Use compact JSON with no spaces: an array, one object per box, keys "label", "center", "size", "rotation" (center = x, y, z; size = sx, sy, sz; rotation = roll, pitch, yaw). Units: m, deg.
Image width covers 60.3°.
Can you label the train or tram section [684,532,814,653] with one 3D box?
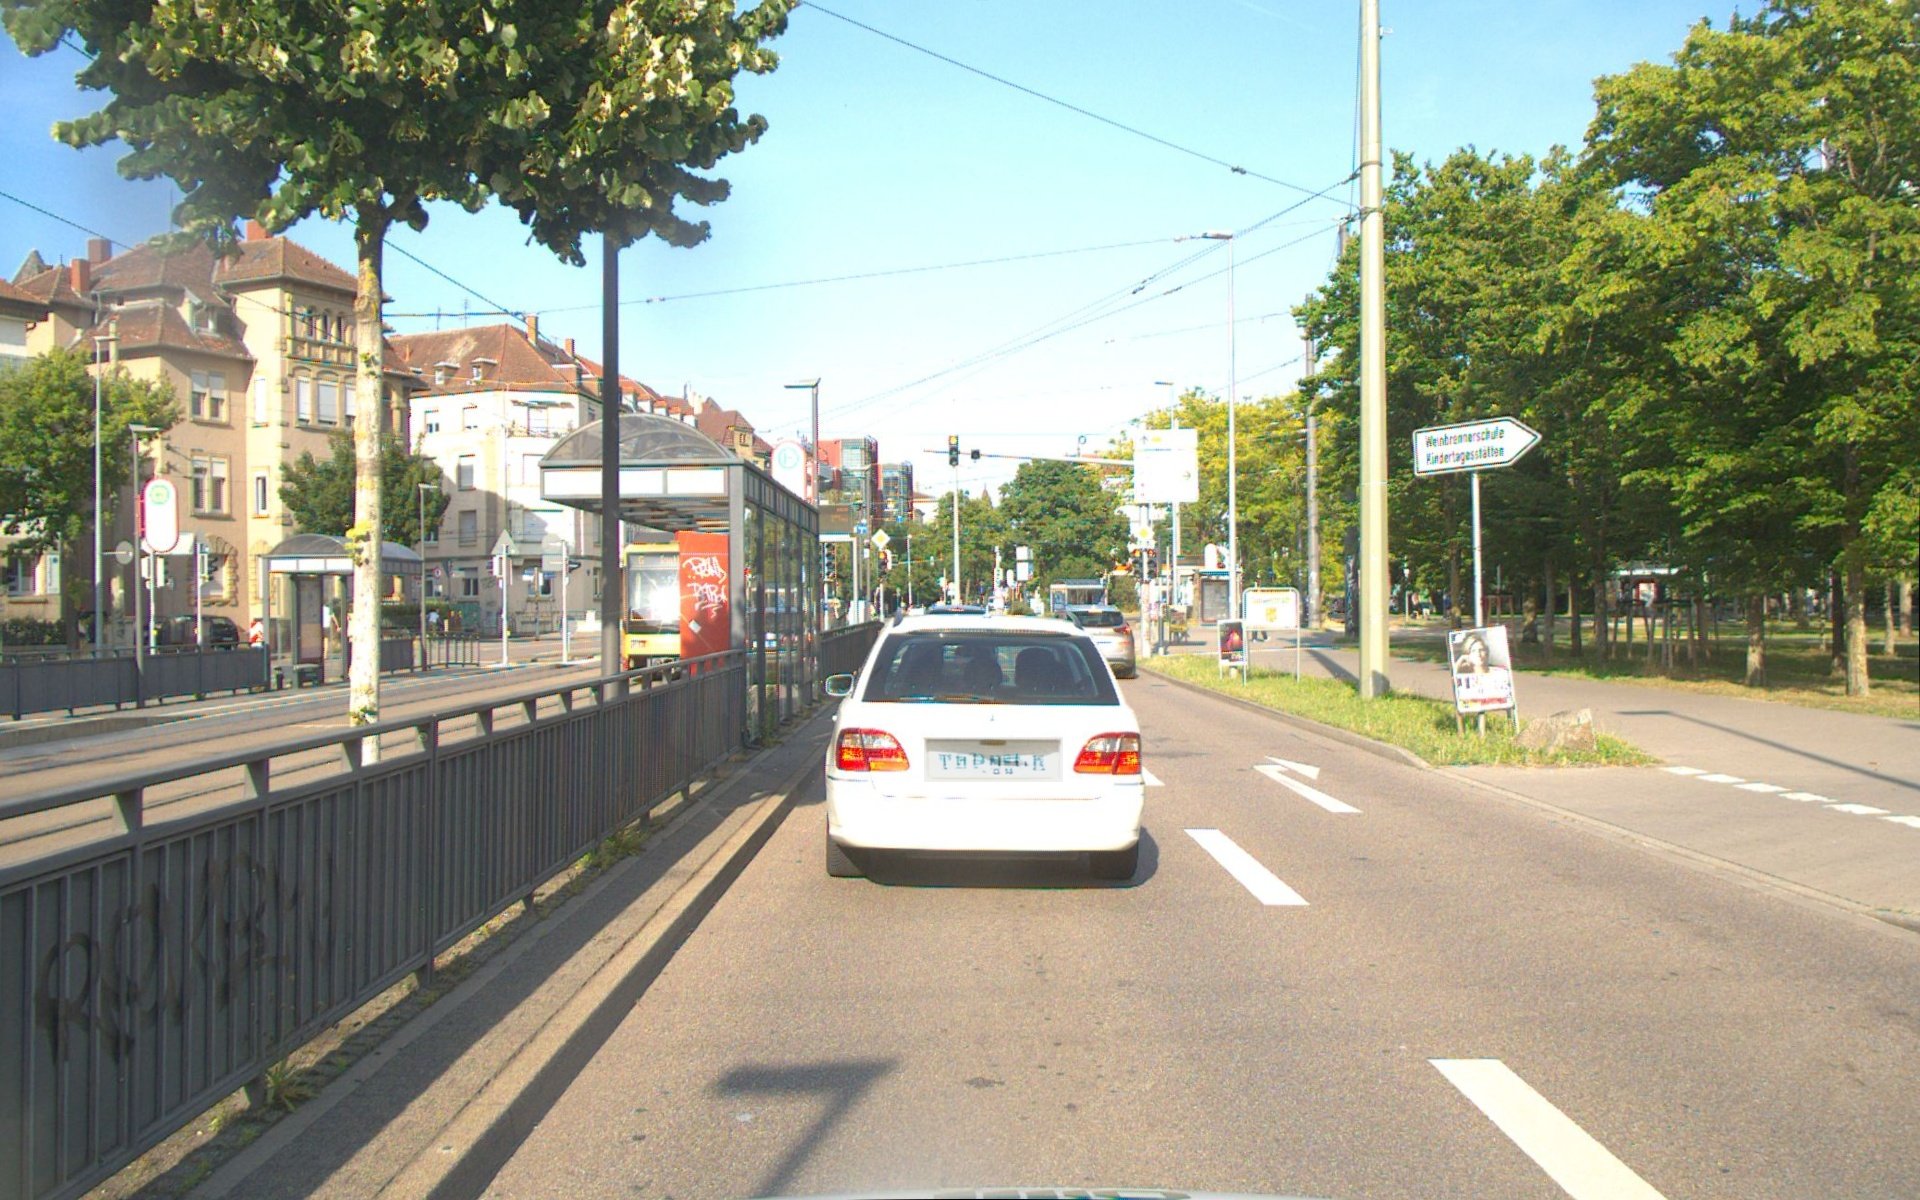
[{"label":"train or tram section","center":[-6.723,-0.240,54.803],"size":[2.791,3.540,13.197],"rotation":[0,0,-1]}]

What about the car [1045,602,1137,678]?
[{"label":"car","center":[2.973,0.876,37.980],"size":[1.990,1.633,4.002],"rotation":[0,0,4]}]

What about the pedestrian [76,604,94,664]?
[{"label":"pedestrian","center":[-30.288,1.176,57.246],"size":[0.374,2.049,0.408],"rotation":[0,0,18]}]

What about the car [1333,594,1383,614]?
[{"label":"car","center":[35.003,0.371,145.345],"size":[3.940,1.680,1.982],"rotation":[-1,0,-27]}]

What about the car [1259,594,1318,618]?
[{"label":"car","center":[24.810,0.467,124.927],"size":[3.940,1.680,1.982],"rotation":[-1,0,-27]}]

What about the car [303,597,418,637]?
[{"label":"car","center":[-26.441,0.719,73.130],"size":[2.159,1.656,4.716],"rotation":[0,0,23]}]

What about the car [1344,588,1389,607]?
[{"label":"car","center":[37.124,-0.237,151.000],"size":[3.902,1.680,2.002],"rotation":[-1,0,14]}]

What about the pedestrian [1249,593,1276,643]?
[{"label":"pedestrian","center":[10.271,0.594,56.184],"size":[0.867,1.681,0.746],"rotation":[0,0,8]}]

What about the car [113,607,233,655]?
[{"label":"car","center":[-30.598,1.185,64.353],"size":[3.903,1.780,2.001],"rotation":[0,0,17]}]

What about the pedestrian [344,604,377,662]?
[{"label":"pedestrian","center":[-18.898,1.028,52.134],"size":[0.870,1.784,0.744],"rotation":[0,0,-11]}]

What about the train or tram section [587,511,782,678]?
[{"label":"train or tram section","center":[-6.584,-0.168,41.819],"size":[2.791,3.540,13.198],"rotation":[0,0,0]}]

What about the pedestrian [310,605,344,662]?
[{"label":"pedestrian","center":[-19.882,1.044,51.939],"size":[0.870,1.784,0.744],"rotation":[0,0,-11]}]

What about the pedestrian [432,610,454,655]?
[{"label":"pedestrian","center":[-20.667,1.312,66.123],"size":[0.651,1.784,0.746],"rotation":[0,0,3]}]

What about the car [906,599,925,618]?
[{"label":"car","center":[-4.886,0.973,182.408],"size":[1.953,2.049,3.999],"rotation":[-1,0,-1]}]

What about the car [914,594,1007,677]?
[{"label":"car","center":[0.060,0.719,36.139],"size":[1.750,1.719,4.002],"rotation":[0,0,4]}]

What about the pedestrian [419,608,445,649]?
[{"label":"pedestrian","center":[-23.195,1.248,72.667],"size":[0.868,1.784,0.746],"rotation":[0,0,3]}]

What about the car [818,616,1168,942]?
[{"label":"car","center":[0.131,0.909,10.250],"size":[1.722,1.530,3.999],"rotation":[-1,0,-1]}]
